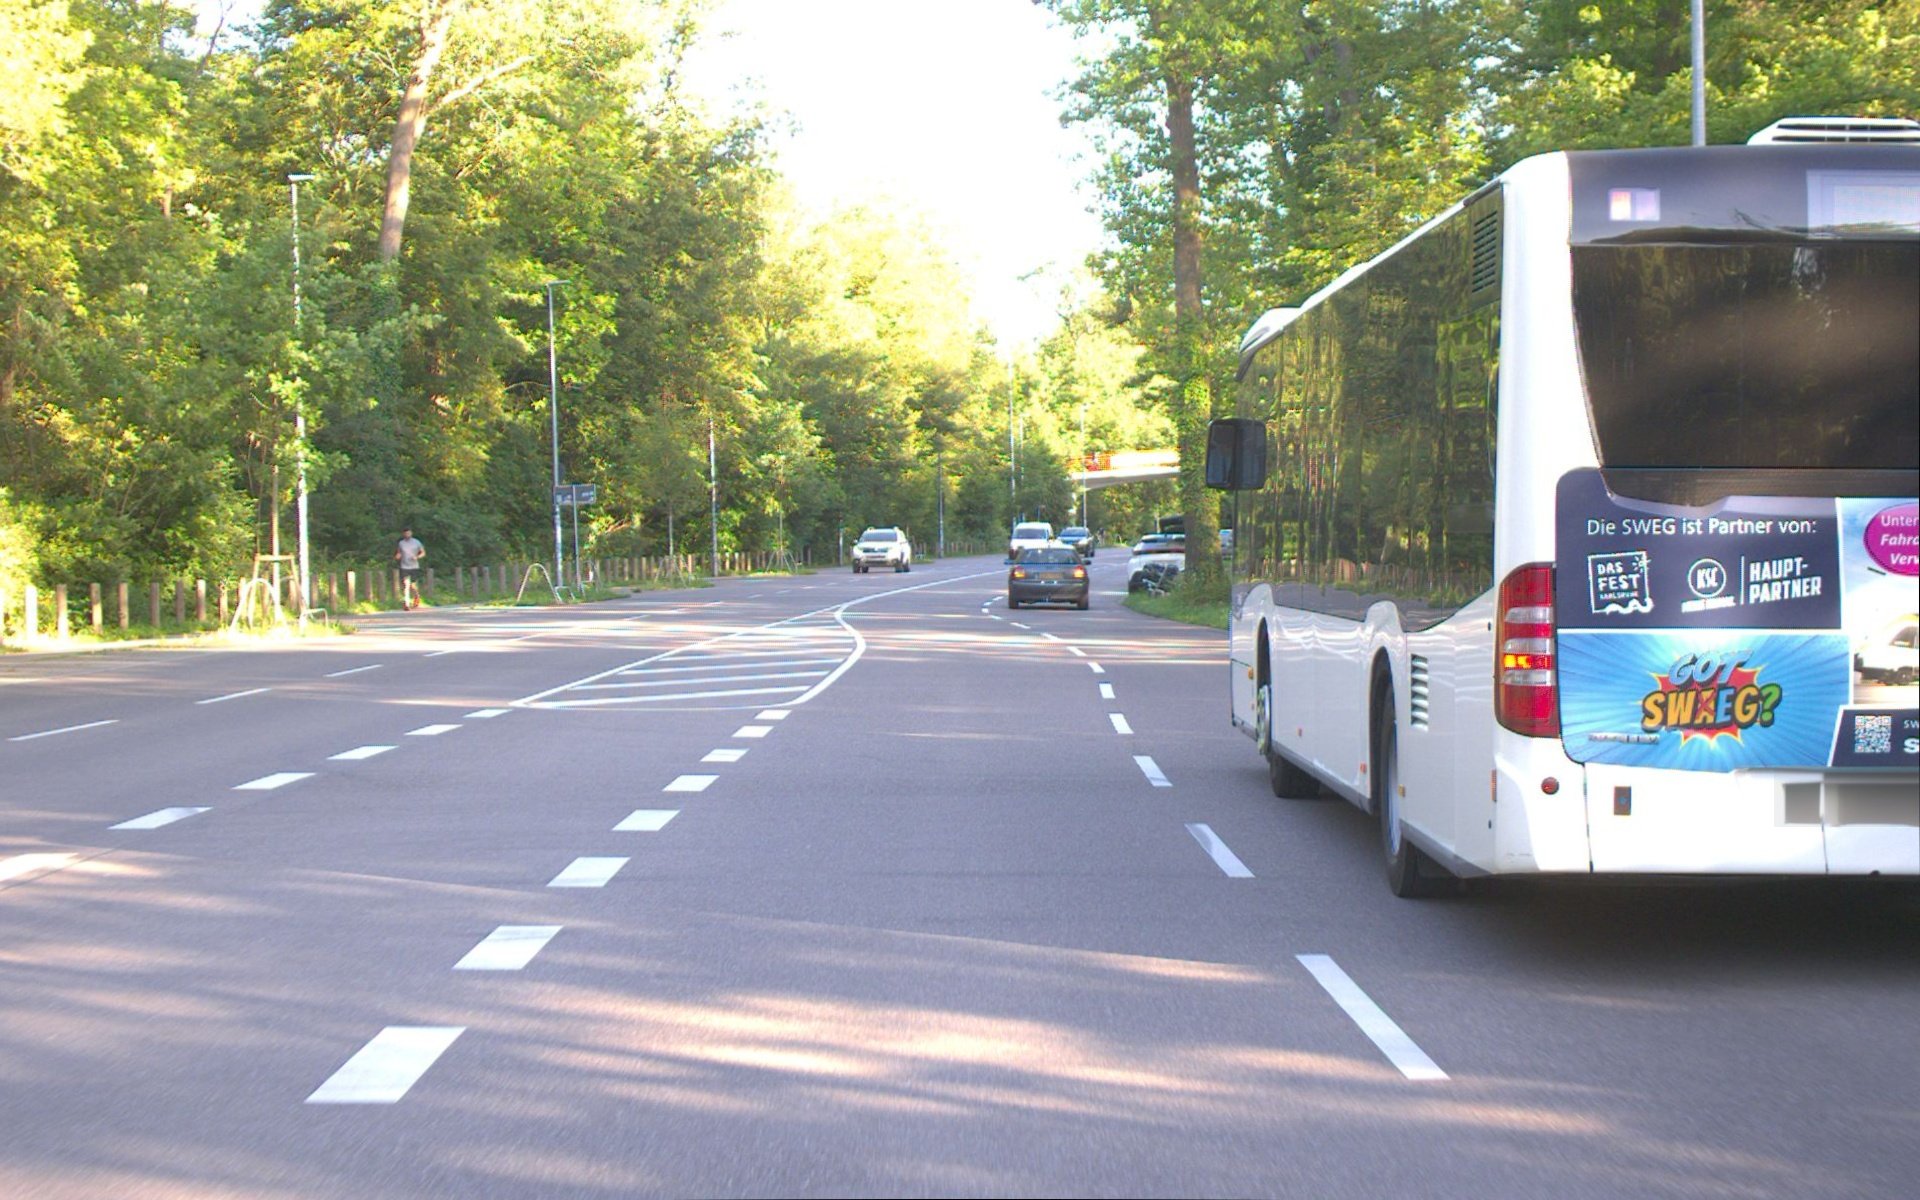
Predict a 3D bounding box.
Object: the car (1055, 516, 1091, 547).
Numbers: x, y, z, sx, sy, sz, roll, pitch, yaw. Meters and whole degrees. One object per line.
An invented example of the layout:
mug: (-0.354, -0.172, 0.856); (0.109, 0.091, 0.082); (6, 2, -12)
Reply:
car: (5.834, -3.510, 177.490); (1.863, 1.560, 4.000); (0, 1, 2)

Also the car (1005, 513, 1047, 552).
car: (2.926, -2.998, 153.252); (1.863, 1.723, 4.000); (0, 1, 1)

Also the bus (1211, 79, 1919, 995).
bus: (3.039, -0.279, 17.412); (2.689, 3.032, 12.041); (0, 1, 0)

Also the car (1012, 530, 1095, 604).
car: (2.052, -0.714, 74.279); (1.632, 1.542, 4.131); (0, 1, 4)

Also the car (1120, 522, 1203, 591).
car: (4.962, -1.067, 84.294); (1.632, 1.653, 4.130); (0, 1, 9)

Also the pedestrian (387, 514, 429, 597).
pedestrian: (-12.136, -0.978, 75.594); (0.779, 1.806, 0.770); (0, 1, 0)

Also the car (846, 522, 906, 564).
car: (-3.086, -2.105, 127.002); (1.863, 1.532, 4.131); (0, 1, 4)
